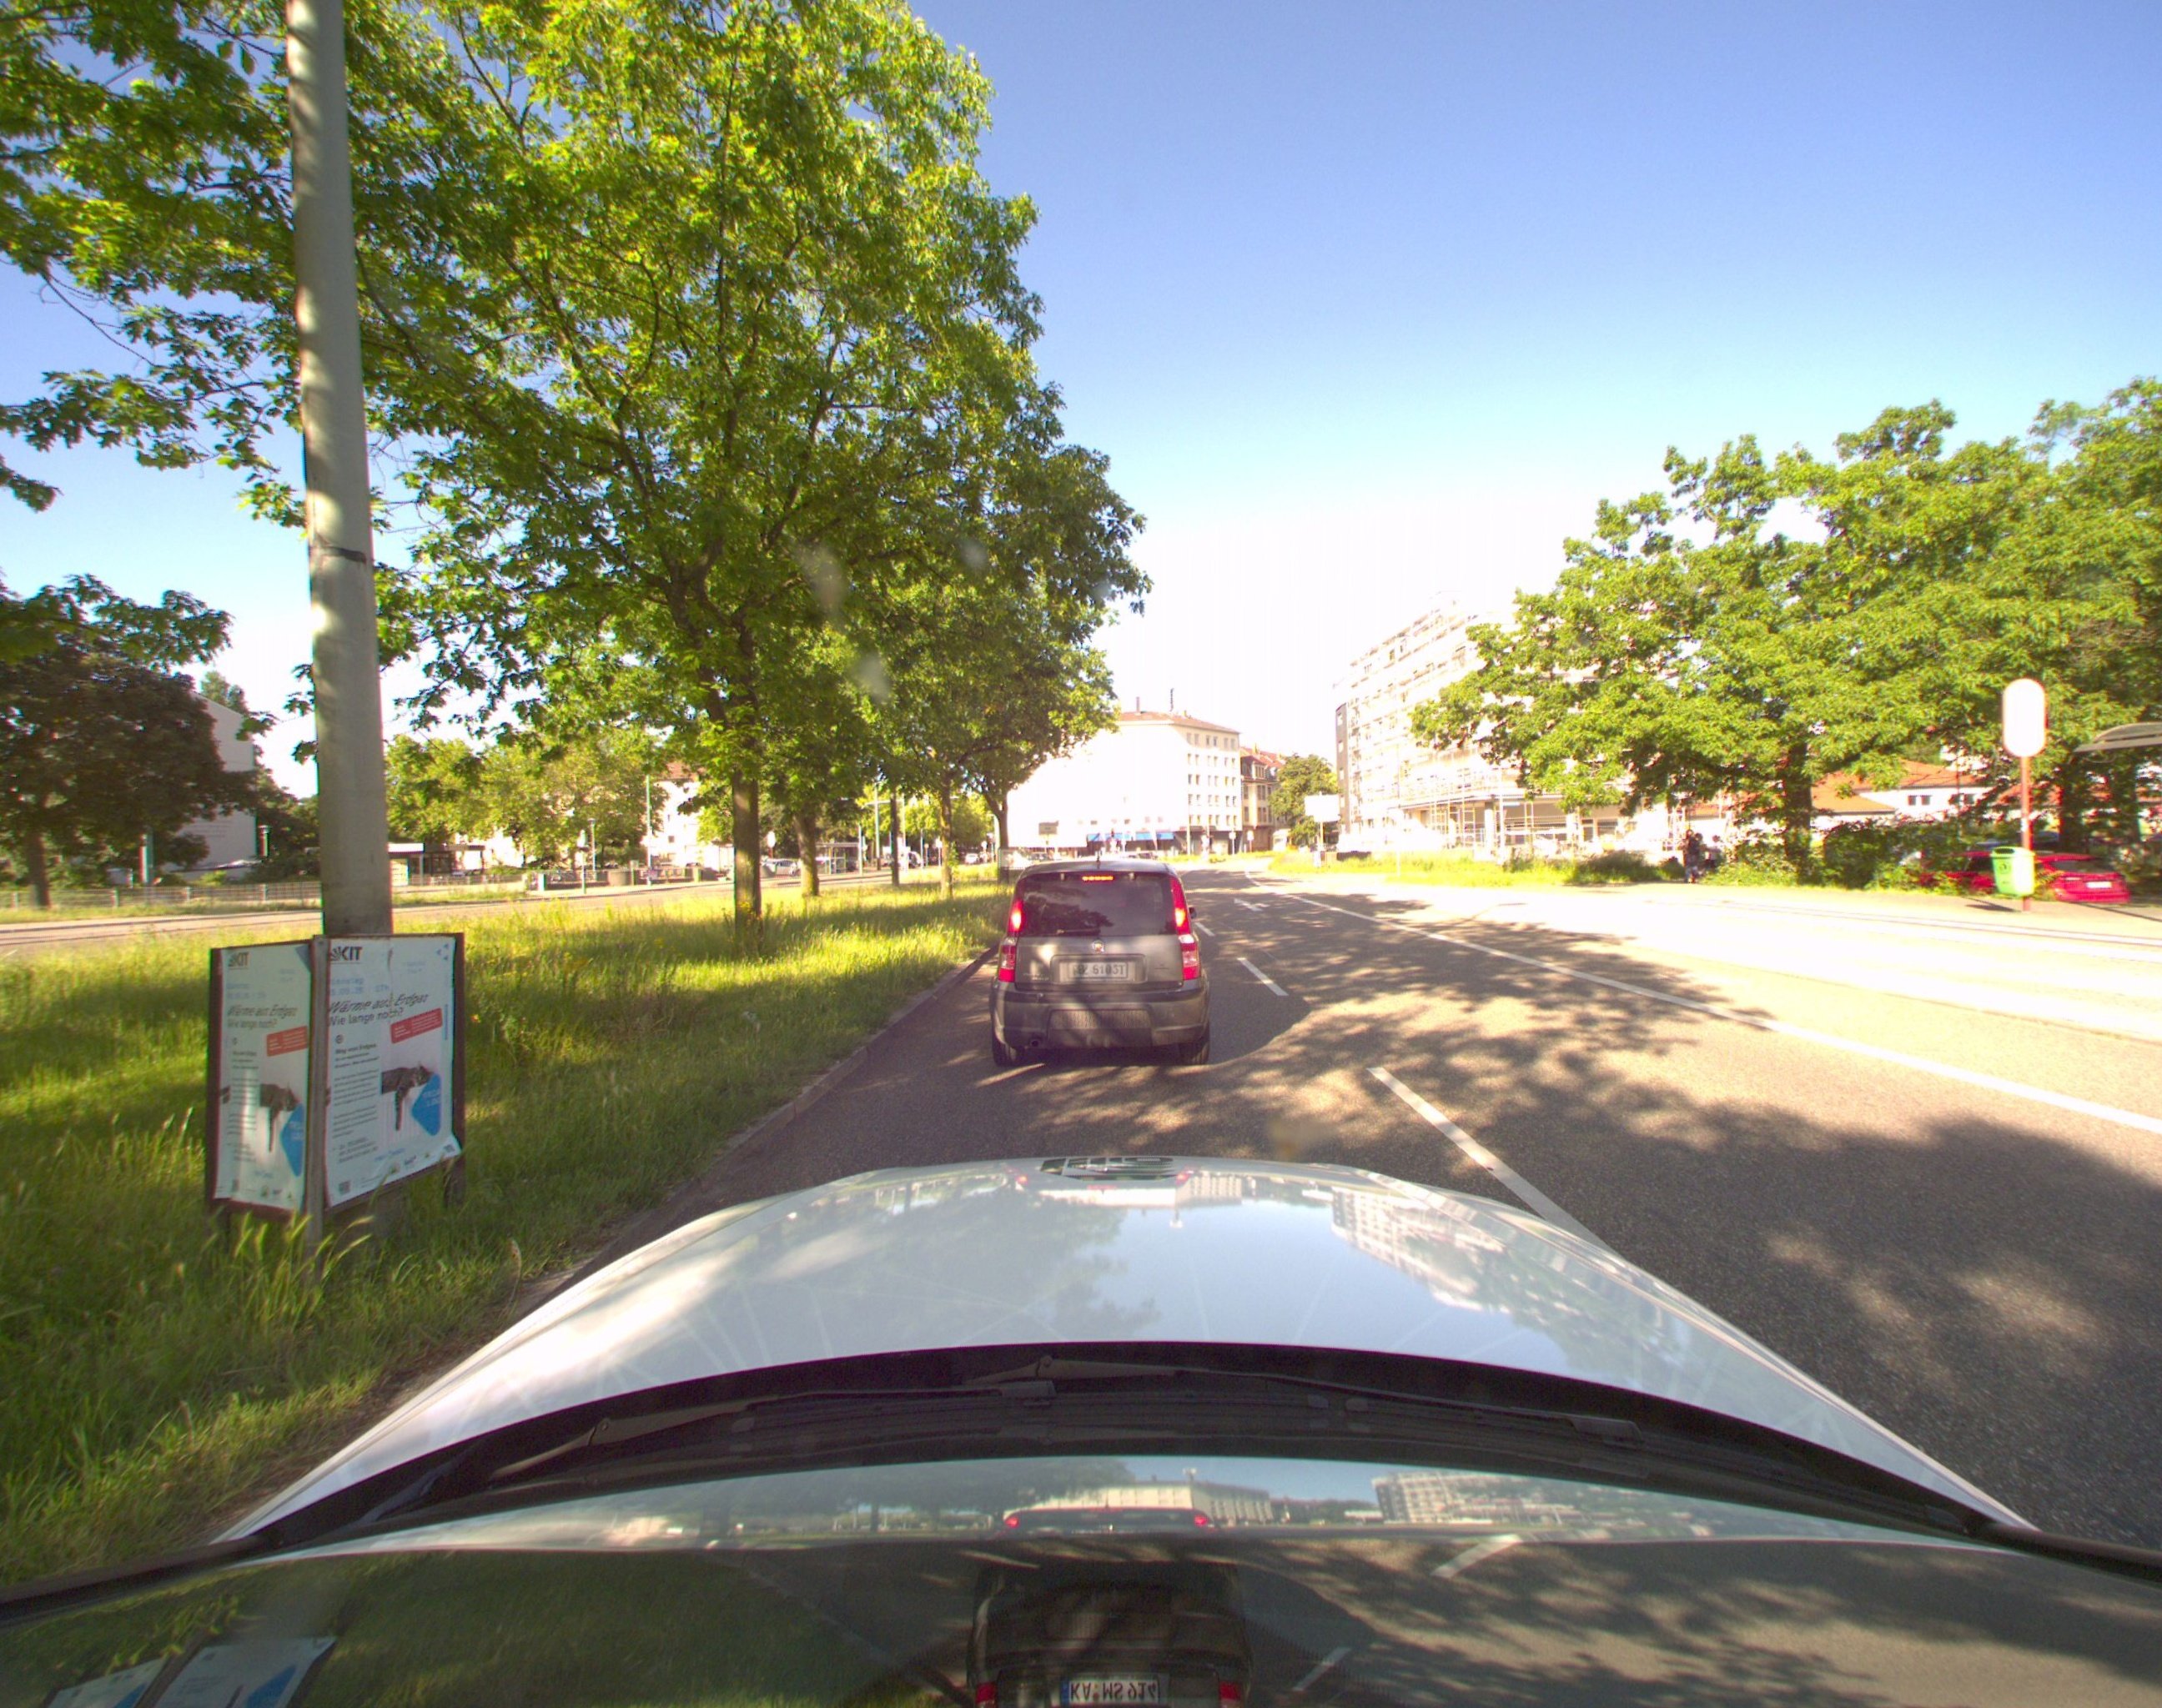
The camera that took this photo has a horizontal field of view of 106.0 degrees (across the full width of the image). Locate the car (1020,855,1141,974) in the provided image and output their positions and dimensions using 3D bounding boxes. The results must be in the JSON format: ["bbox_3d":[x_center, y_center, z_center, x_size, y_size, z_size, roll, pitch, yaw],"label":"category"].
[{"bbox_3d":[0.049,0.748,11.760,1.458,1.401,3.395,-2,0,2],"label":"car"}]

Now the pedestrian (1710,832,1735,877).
[{"bbox_3d":[20.897,0.017,26.546,0.516,1.447,0.595,-2,0,28],"label":"pedestrian"}]

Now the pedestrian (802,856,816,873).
[{"bbox_3d":[-26.236,1.027,78.545,0.910,1.607,0.802,-2,0,41],"label":"pedestrian"}]

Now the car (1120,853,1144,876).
[{"bbox_3d":[3.094,0.622,49.675,1.351,1.281,2.877,-2,0,2],"label":"car"}]

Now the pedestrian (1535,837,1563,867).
[{"bbox_3d":[26.437,-0.099,46.013,0.893,1.653,0.978,-2,0,-28],"label":"pedestrian"}]

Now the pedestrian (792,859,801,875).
[{"bbox_3d":[-24.878,1.105,71.262,0.411,1.391,0.630,-2,0,28],"label":"pedestrian"}]

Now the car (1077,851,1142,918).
[{"bbox_3d":[0.725,0.699,20.792,1.458,1.508,3.506,-2,0,2],"label":"car"}]

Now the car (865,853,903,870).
[{"bbox_3d":[-23.948,0.894,99.026,4.164,2.013,1.931,-2,0,-1],"label":"car"}]

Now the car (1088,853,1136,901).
[{"bbox_3d":[1.029,0.728,27.395,1.458,1.424,3.383,-2,0,2],"label":"car"}]

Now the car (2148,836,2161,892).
[{"bbox_3d":[29.862,0.239,20.177,1.911,1.486,3.725,-2,0,-17],"label":"car"}]

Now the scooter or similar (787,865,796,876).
[{"bbox_3d":[-25.153,1.401,70.751,0.416,0.927,0.537,-2,0,28],"label":"scooter or similar"}]

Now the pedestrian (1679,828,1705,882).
[{"bbox_3d":[18.534,0.016,24.705,0.516,1.612,0.595,-2,0,28],"label":"pedestrian"}]

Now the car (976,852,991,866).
[{"bbox_3d":[-14.845,0.736,124.157,1.988,2.013,3.997,-2,0,-2],"label":"car"}]

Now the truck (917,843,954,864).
[{"bbox_3d":[-23.012,-0.138,128.567,5.425,3.168,2.358,-2,0,30],"label":"truck"}]

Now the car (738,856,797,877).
[{"bbox_3d":[-27.321,1.070,71.063,1.974,1.684,4.348,-2,0,40],"label":"car"}]

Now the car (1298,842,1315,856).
[{"bbox_3d":[24.912,-0.533,89.995,1.669,1.449,3.588,-2,0,18],"label":"car"}]

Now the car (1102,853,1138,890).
[{"bbox_3d":[1.601,0.694,33.965,1.351,1.449,3.267,-2,0,2],"label":"car"}]

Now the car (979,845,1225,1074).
[{"bbox_3d":[0.205,0.704,7.532,1.622,1.508,4.002,-2,0,2],"label":"car"}]

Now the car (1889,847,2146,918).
[{"bbox_3d":[21.986,0.600,19.373,1.747,1.486,3.743,-2,0,-2],"label":"car"}]

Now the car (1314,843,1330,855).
[{"bbox_3d":[27.623,-0.584,93.425,1.514,1.314,3.304,-2,0,20],"label":"car"}]

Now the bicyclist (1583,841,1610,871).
[{"bbox_3d":[25.302,0.088,39.956,0.839,1.438,0.744,0,-1,2],"label":"bicyclist"}]

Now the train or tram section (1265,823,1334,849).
[{"bbox_3d":[32.398,-2.682,119.757,3.263,3.513,19.509,-2,0,35],"label":"train or tram section"}]

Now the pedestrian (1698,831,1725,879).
[{"bbox_3d":[19.207,0.027,24.810,0.516,1.447,0.595,-2,0,28],"label":"pedestrian"}]

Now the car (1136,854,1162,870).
[{"bbox_3d":[4.864,0.578,57.714,1.133,1.064,2.735,-2,0,19],"label":"car"}]

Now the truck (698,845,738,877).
[{"bbox_3d":[-33.078,0.633,74.200,2.012,2.805,3.951,-2,0,-44],"label":"truck"}]
